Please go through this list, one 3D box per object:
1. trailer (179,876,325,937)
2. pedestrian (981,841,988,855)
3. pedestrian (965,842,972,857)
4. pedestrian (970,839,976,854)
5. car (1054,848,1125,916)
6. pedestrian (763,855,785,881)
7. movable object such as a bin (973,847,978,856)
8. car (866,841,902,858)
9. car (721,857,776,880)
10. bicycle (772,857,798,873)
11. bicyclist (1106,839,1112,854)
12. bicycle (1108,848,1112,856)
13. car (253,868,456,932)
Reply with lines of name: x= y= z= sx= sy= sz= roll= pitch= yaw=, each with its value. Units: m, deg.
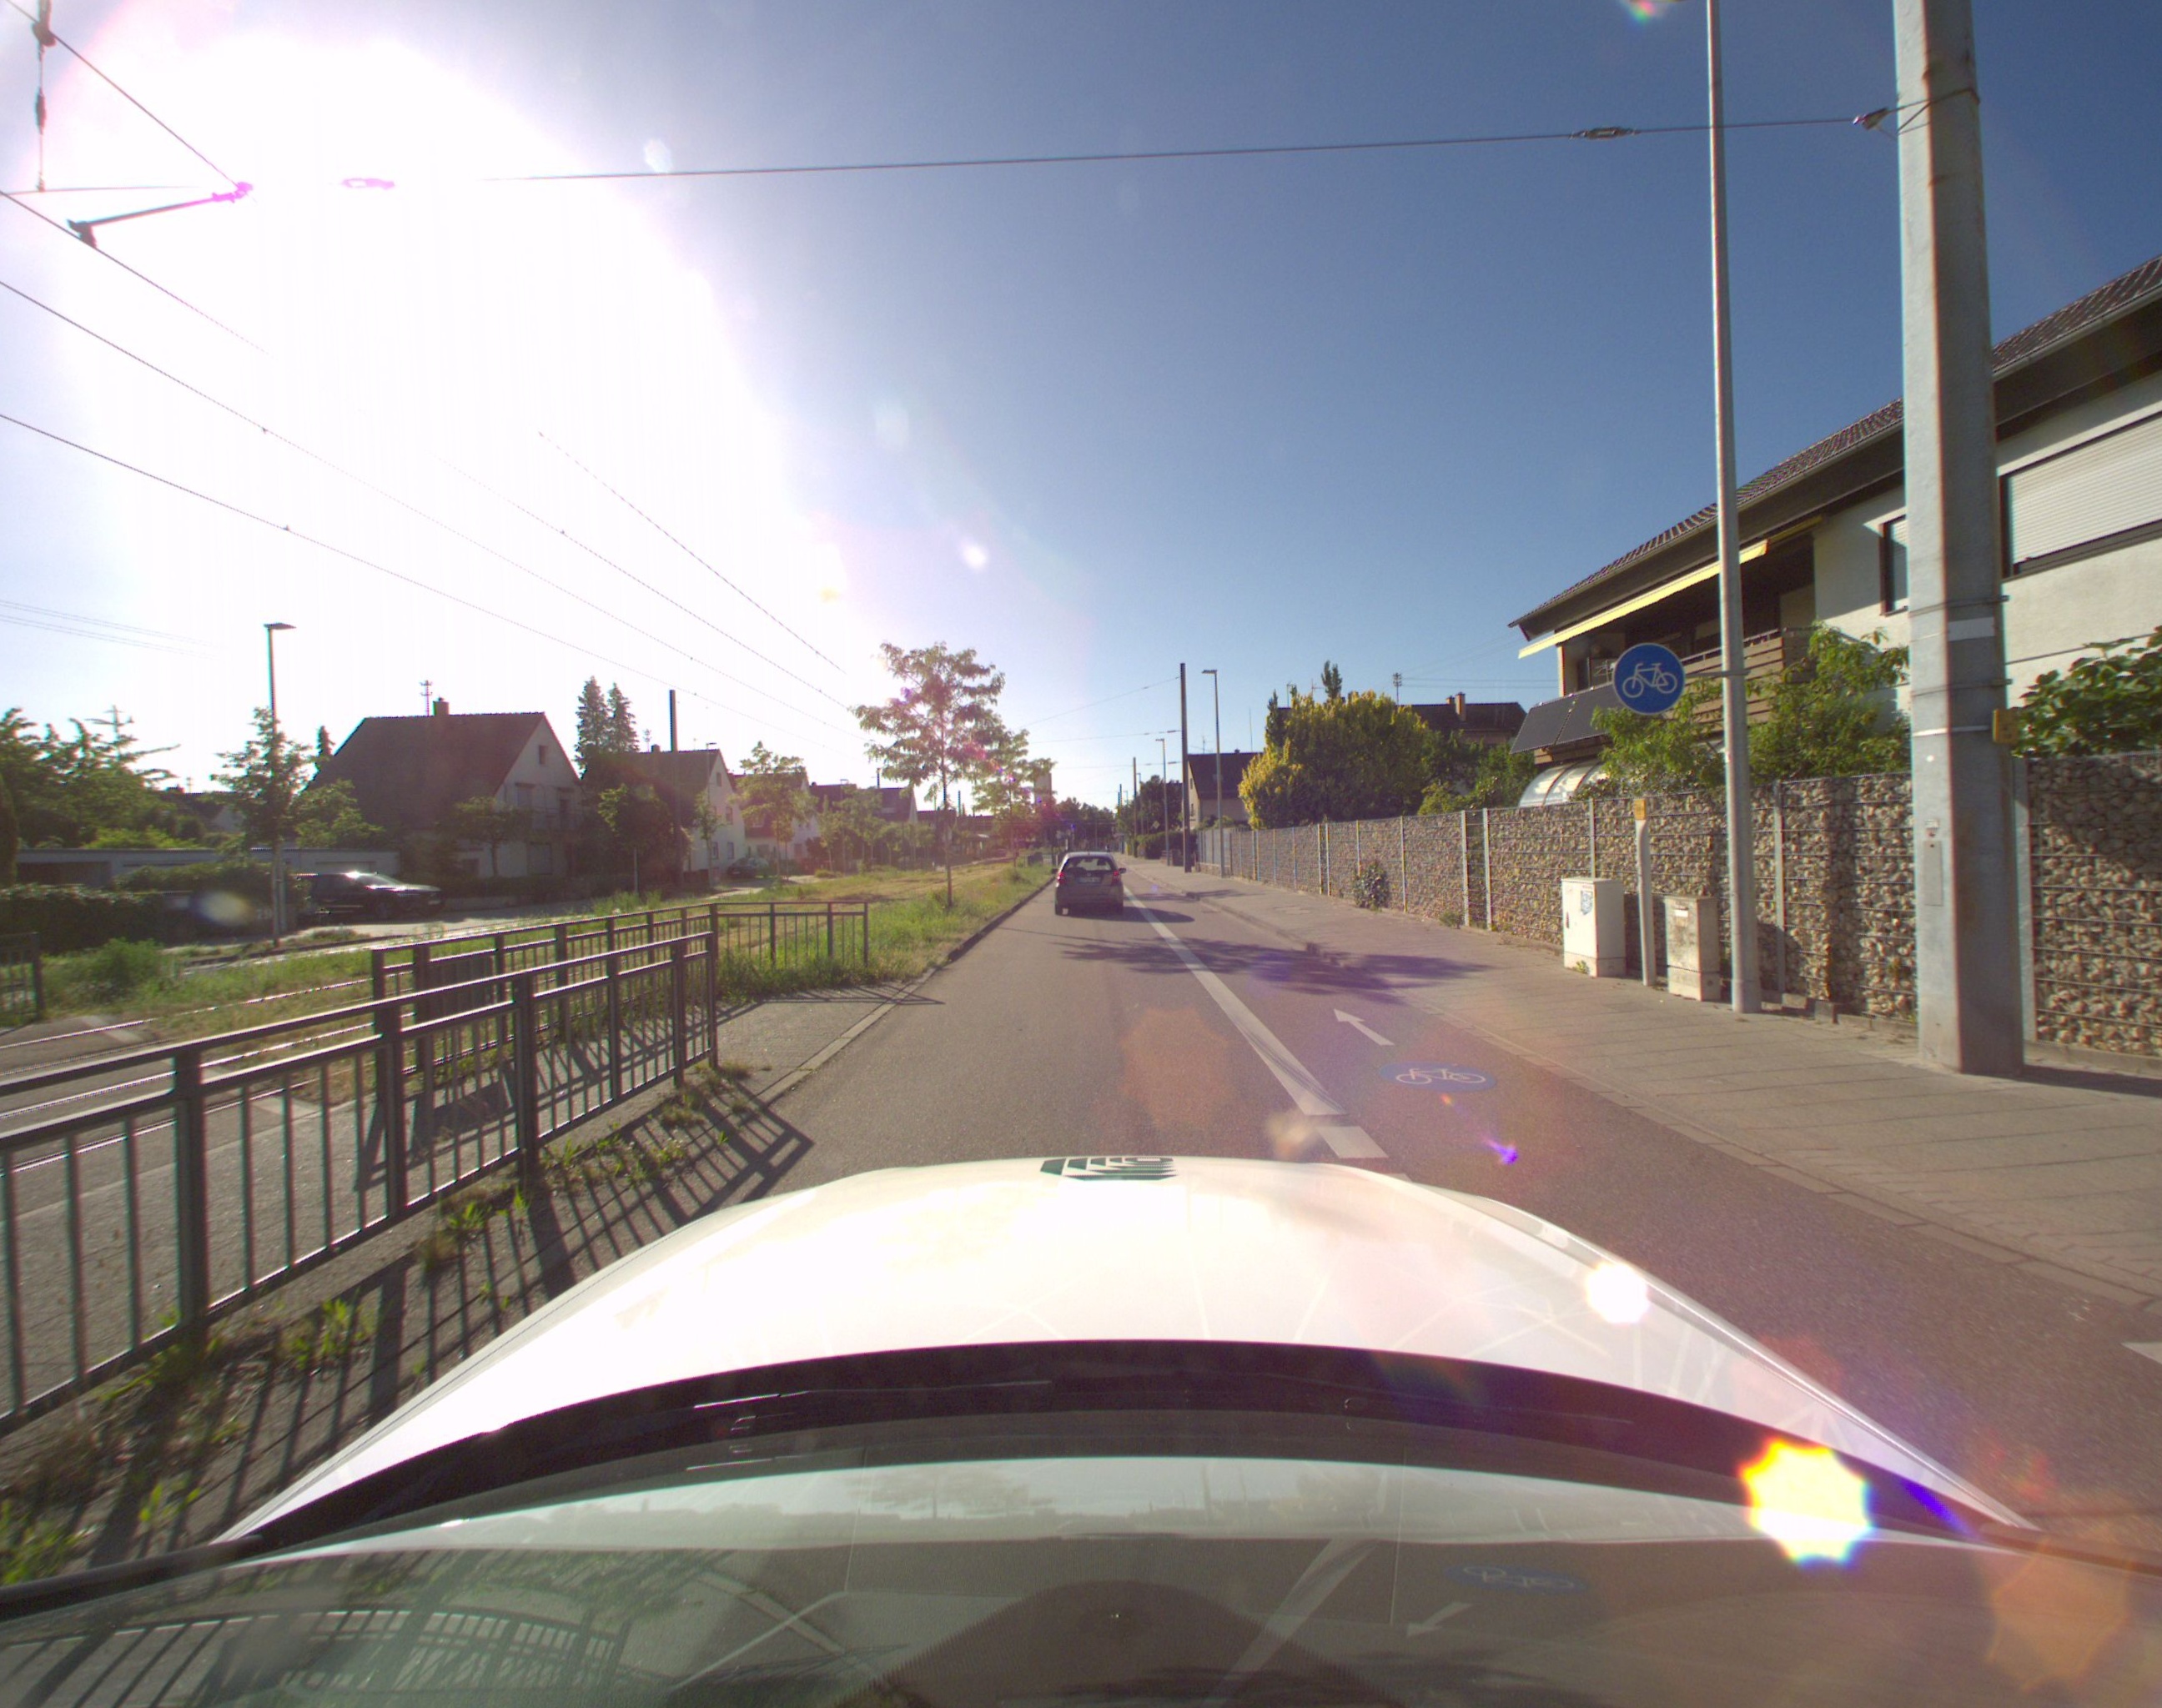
trailer: x=-25.467 y=1.603 z=25.084 sx=2.906 sy=1.647 sz=1.398 roll=-2 pitch=1 yaw=-3
pedestrian: x=-11.668 y=-0.727 z=98.422 sx=0.498 sy=1.696 sz=0.771 roll=-4 pitch=1 yaw=1
pedestrian: x=-12.268 y=-0.485 z=88.907 sx=0.674 sy=1.535 sz=0.748 roll=-2 pitch=1 yaw=-4
pedestrian: x=-12.054 y=-0.847 z=91.121 sx=0.518 sy=1.708 sz=0.580 roll=-2 pitch=1 yaw=-4
car: x=0.199 y=0.644 z=20.825 sx=1.665 sy=1.535 sz=3.486 roll=-1 pitch=1 yaw=0
pedestrian: x=-20.529 y=0.934 z=54.500 sx=0.962 sy=1.640 sz=1.086 roll=-2 pitch=1 yaw=0
movable object such as a bin: x=-11.544 y=-0.257 z=89.071 sx=0.545 sy=0.988 sz=0.740 roll=-2 pitch=1 yaw=-4
car: x=-23.618 y=-0.574 z=97.589 sx=3.983 sy=1.969 sz=1.928 roll=-1 pitch=0 yaw=-7
car: x=-24.971 y=1.064 z=61.346 sx=1.928 sy=1.450 sz=5.163 roll=-2 pitch=1 yaw=1
bicycle: x=-26.558 y=0.979 z=73.077 sx=1.986 sy=1.365 sz=0.703 roll=-2 pitch=1 yaw=-7
bicyclist: x=3.244 y=-0.857 z=93.761 sx=0.596 sy=1.701 sz=0.683 roll=-1 pitch=0 yaw=1
bicycle: x=3.329 y=-0.258 z=93.903 sx=0.473 sy=0.961 sz=1.657 roll=-1 pitch=0 yaw=1
car: x=-24.131 y=1.470 z=27.248 sx=4.542 sy=1.734 sz=2.045 roll=-3 pitch=1 yaw=-11
